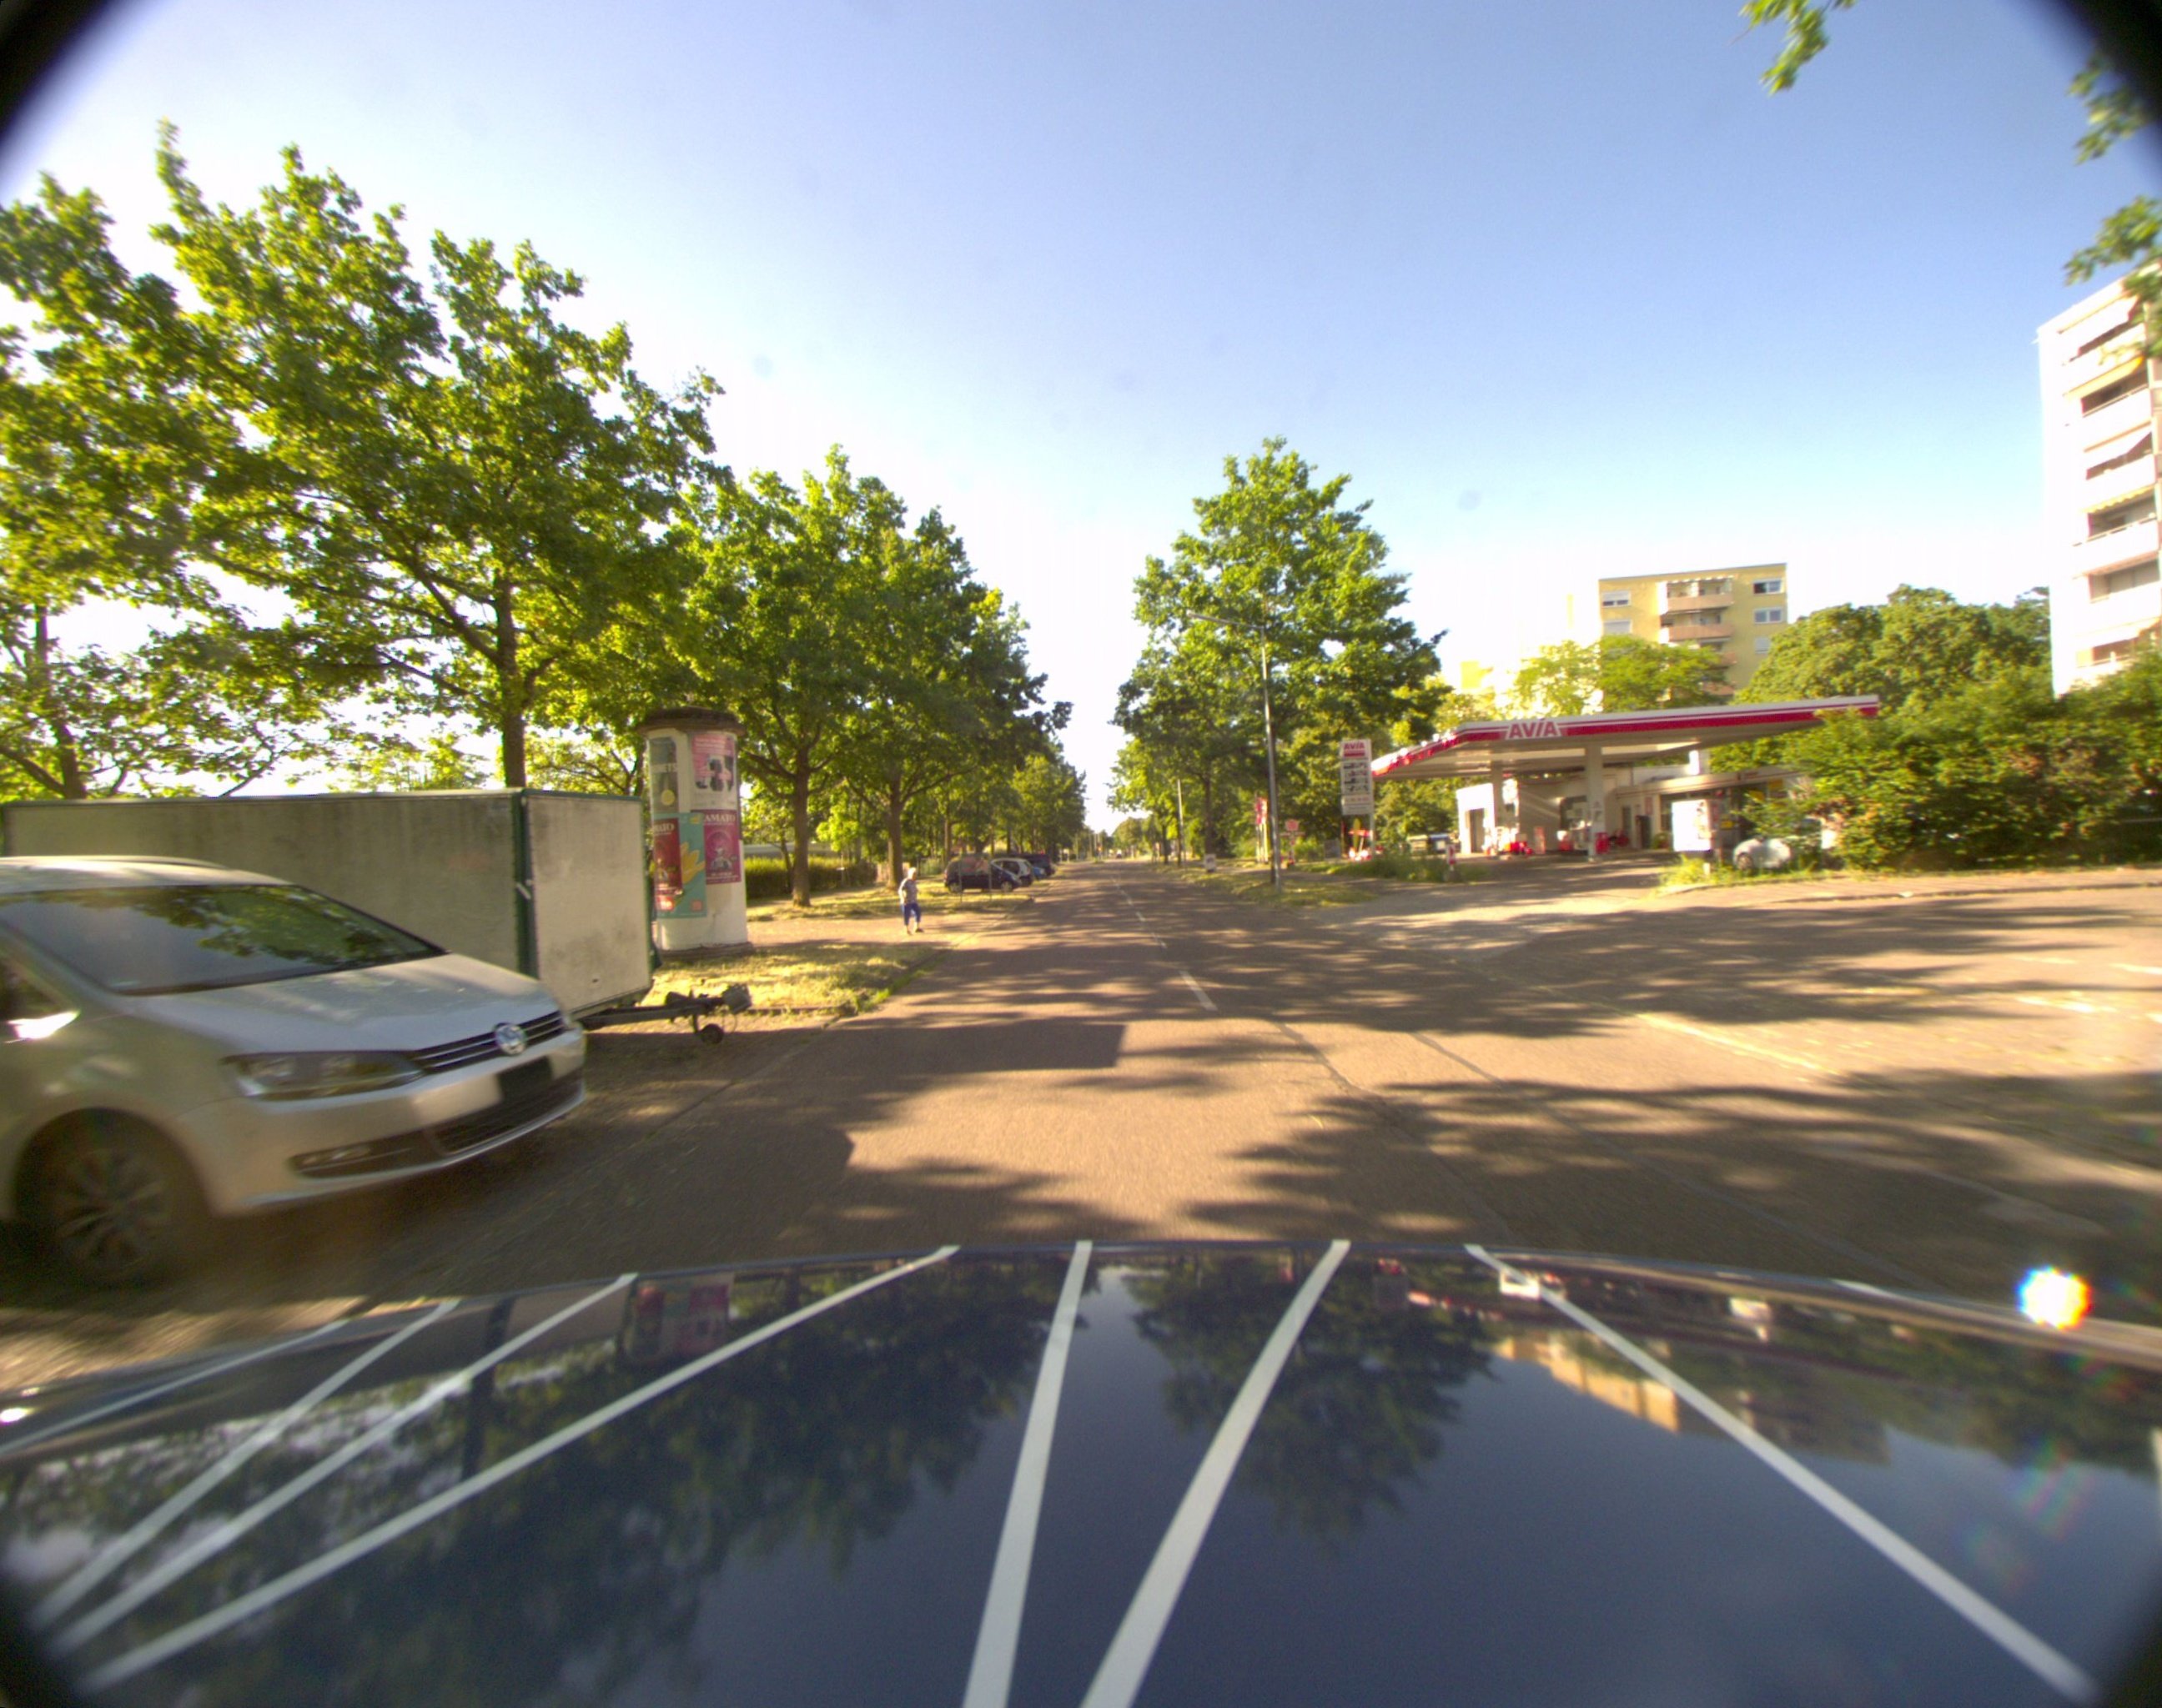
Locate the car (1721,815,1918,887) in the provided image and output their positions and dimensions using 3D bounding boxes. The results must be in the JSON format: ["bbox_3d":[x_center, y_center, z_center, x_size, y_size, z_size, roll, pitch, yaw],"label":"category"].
[{"bbox_3d":[17.210,-0.075,17.946,1.549,1.414,3.489,-5,0,9],"label":"car"}]

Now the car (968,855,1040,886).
[{"bbox_3d":[-4.126,0.879,41.209,3.592,1.567,1.786,-1,1,3],"label":"car"}]

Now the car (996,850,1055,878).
[{"bbox_3d":[-3.878,0.675,53.634,4.019,1.826,1.799,-1,1,-2],"label":"car"}]

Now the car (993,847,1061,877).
[{"bbox_3d":[-3.916,0.587,55.964,4.815,2.020,1.944,-2,1,0],"label":"car"}]

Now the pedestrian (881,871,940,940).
[{"bbox_3d":[-3.904,1.147,17.386,0.941,1.491,0.887,-1,0,40],"label":"pedestrian"}]

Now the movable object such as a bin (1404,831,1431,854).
[{"bbox_3d":[24.065,-0.809,54.390,1.307,1.533,1.268,-3,1,2],"label":"movable object such as a bin"}]

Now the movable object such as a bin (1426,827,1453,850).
[{"bbox_3d":[25.562,-1.112,54.227,1.307,1.533,1.164,-4,1,2],"label":"movable object such as a bin"}]

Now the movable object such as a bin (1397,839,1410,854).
[{"bbox_3d":[23.083,-0.521,54.418,0.570,1.079,0.768,-3,1,2],"label":"movable object such as a bin"}]

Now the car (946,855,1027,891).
[{"bbox_3d":[-4.443,0.907,36.280,3.592,1.567,1.857,-1,1,0],"label":"car"}]

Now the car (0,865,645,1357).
[{"bbox_3d":[-5.070,0.980,3.756,4.653,1.712,1.987,-1,1,2],"label":"car"}]

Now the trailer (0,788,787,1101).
[{"bbox_3d":[-5.777,0.717,6.586,5.788,2.304,1.686,-1,1,3],"label":"trailer"}]

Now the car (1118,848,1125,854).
[{"bbox_3d":[13.333,-0.988,249.648,1.904,2.082,3.641,-1,0,1],"label":"car"}]

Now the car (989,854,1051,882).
[{"bbox_3d":[-3.659,0.834,45.876,3.529,1.523,1.665,-1,1,3],"label":"car"}]
